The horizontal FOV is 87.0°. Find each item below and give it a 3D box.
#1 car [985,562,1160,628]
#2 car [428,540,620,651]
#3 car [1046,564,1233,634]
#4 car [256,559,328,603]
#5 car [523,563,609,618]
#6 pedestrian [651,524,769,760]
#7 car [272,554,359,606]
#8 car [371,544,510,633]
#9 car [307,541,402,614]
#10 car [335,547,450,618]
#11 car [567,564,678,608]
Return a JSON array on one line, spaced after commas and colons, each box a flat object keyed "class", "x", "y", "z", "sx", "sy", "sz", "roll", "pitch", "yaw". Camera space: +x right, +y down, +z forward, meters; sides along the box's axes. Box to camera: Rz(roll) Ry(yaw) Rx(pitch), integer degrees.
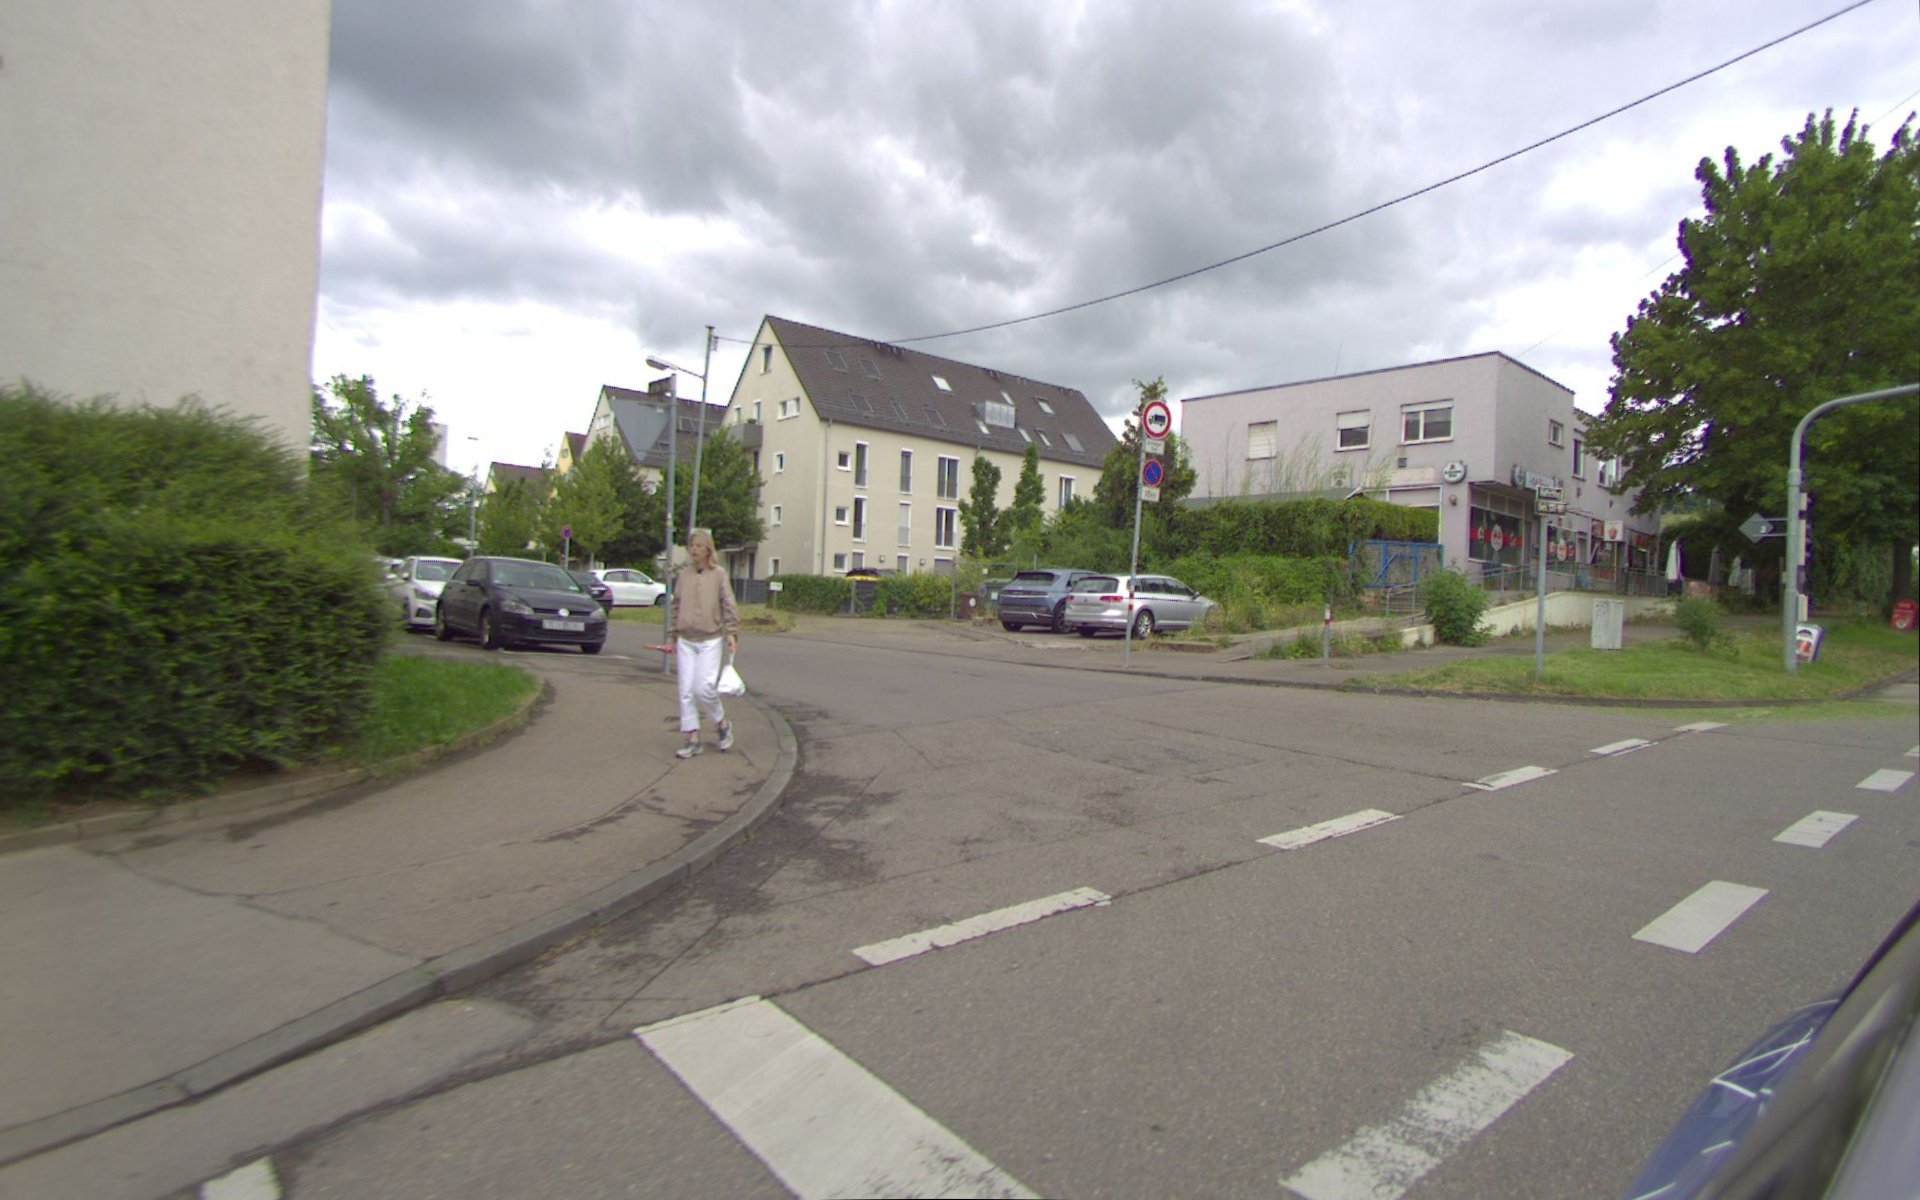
[{"class": "car", "x": 2.961, "y": -0.135, "z": 25.923, "sx": 4.534, "sy": 1.552, "sz": 1.996, "roll": 0, "pitch": 1, "yaw": -43}, {"class": "car", "x": -7.104, "y": -0.051, "z": 16.299, "sx": 1.693, "sy": 1.474, "sz": 3.879, "roll": 6, "pitch": -4, "yaw": -40}, {"class": "car", "x": 4.265, "y": -0.038, "z": 23.608, "sx": 4.534, "sy": 1.482, "sz": 1.996, "roll": 0, "pitch": 1, "yaw": -43}, {"class": "car", "x": -25.041, "y": -0.676, "z": 37.860, "sx": 1.711, "sy": 1.479, "sz": 3.994, "roll": 4, "pitch": -2, "yaw": -40}, {"class": "car", "x": -12.064, "y": -0.288, "z": 30.870, "sx": 1.608, "sy": 1.552, "sz": 3.685, "roll": 0, "pitch": 0, "yaw": -36}, {"class": "pedestrian", "x": -1.919, "y": 0.295, "z": 7.752, "sx": 0.565, "sy": 1.706, "sz": 0.658, "roll": 3, "pitch": 1, "yaw": -39}, {"class": "car", "x": -20.267, "y": -0.599, "z": 31.755, "sx": 1.711, "sy": 1.479, "sz": 3.994, "roll": 4, "pitch": -2, "yaw": -40}, {"class": "car", "x": -10.352, "y": -0.199, "z": 20.022, "sx": 1.710, "sy": 1.541, "sz": 3.997, "roll": 3, "pitch": -2, "yaw": -37}, {"class": "car", "x": -16.781, "y": -0.573, "z": 27.973, "sx": 1.710, "sy": 1.809, "sz": 3.997, "roll": 3, "pitch": -2, "yaw": -38}, {"class": "car", "x": -13.628, "y": -0.382, "z": 24.200, "sx": 1.710, "sy": 1.480, "sz": 3.996, "roll": 3, "pitch": -2, "yaw": -39}, {"class": "car", "x": -12.576, "y": -0.517, "z": 37.790, "sx": 3.618, "sy": 1.553, "sz": 1.583, "roll": 0, "pitch": 0, "yaw": -38}]
